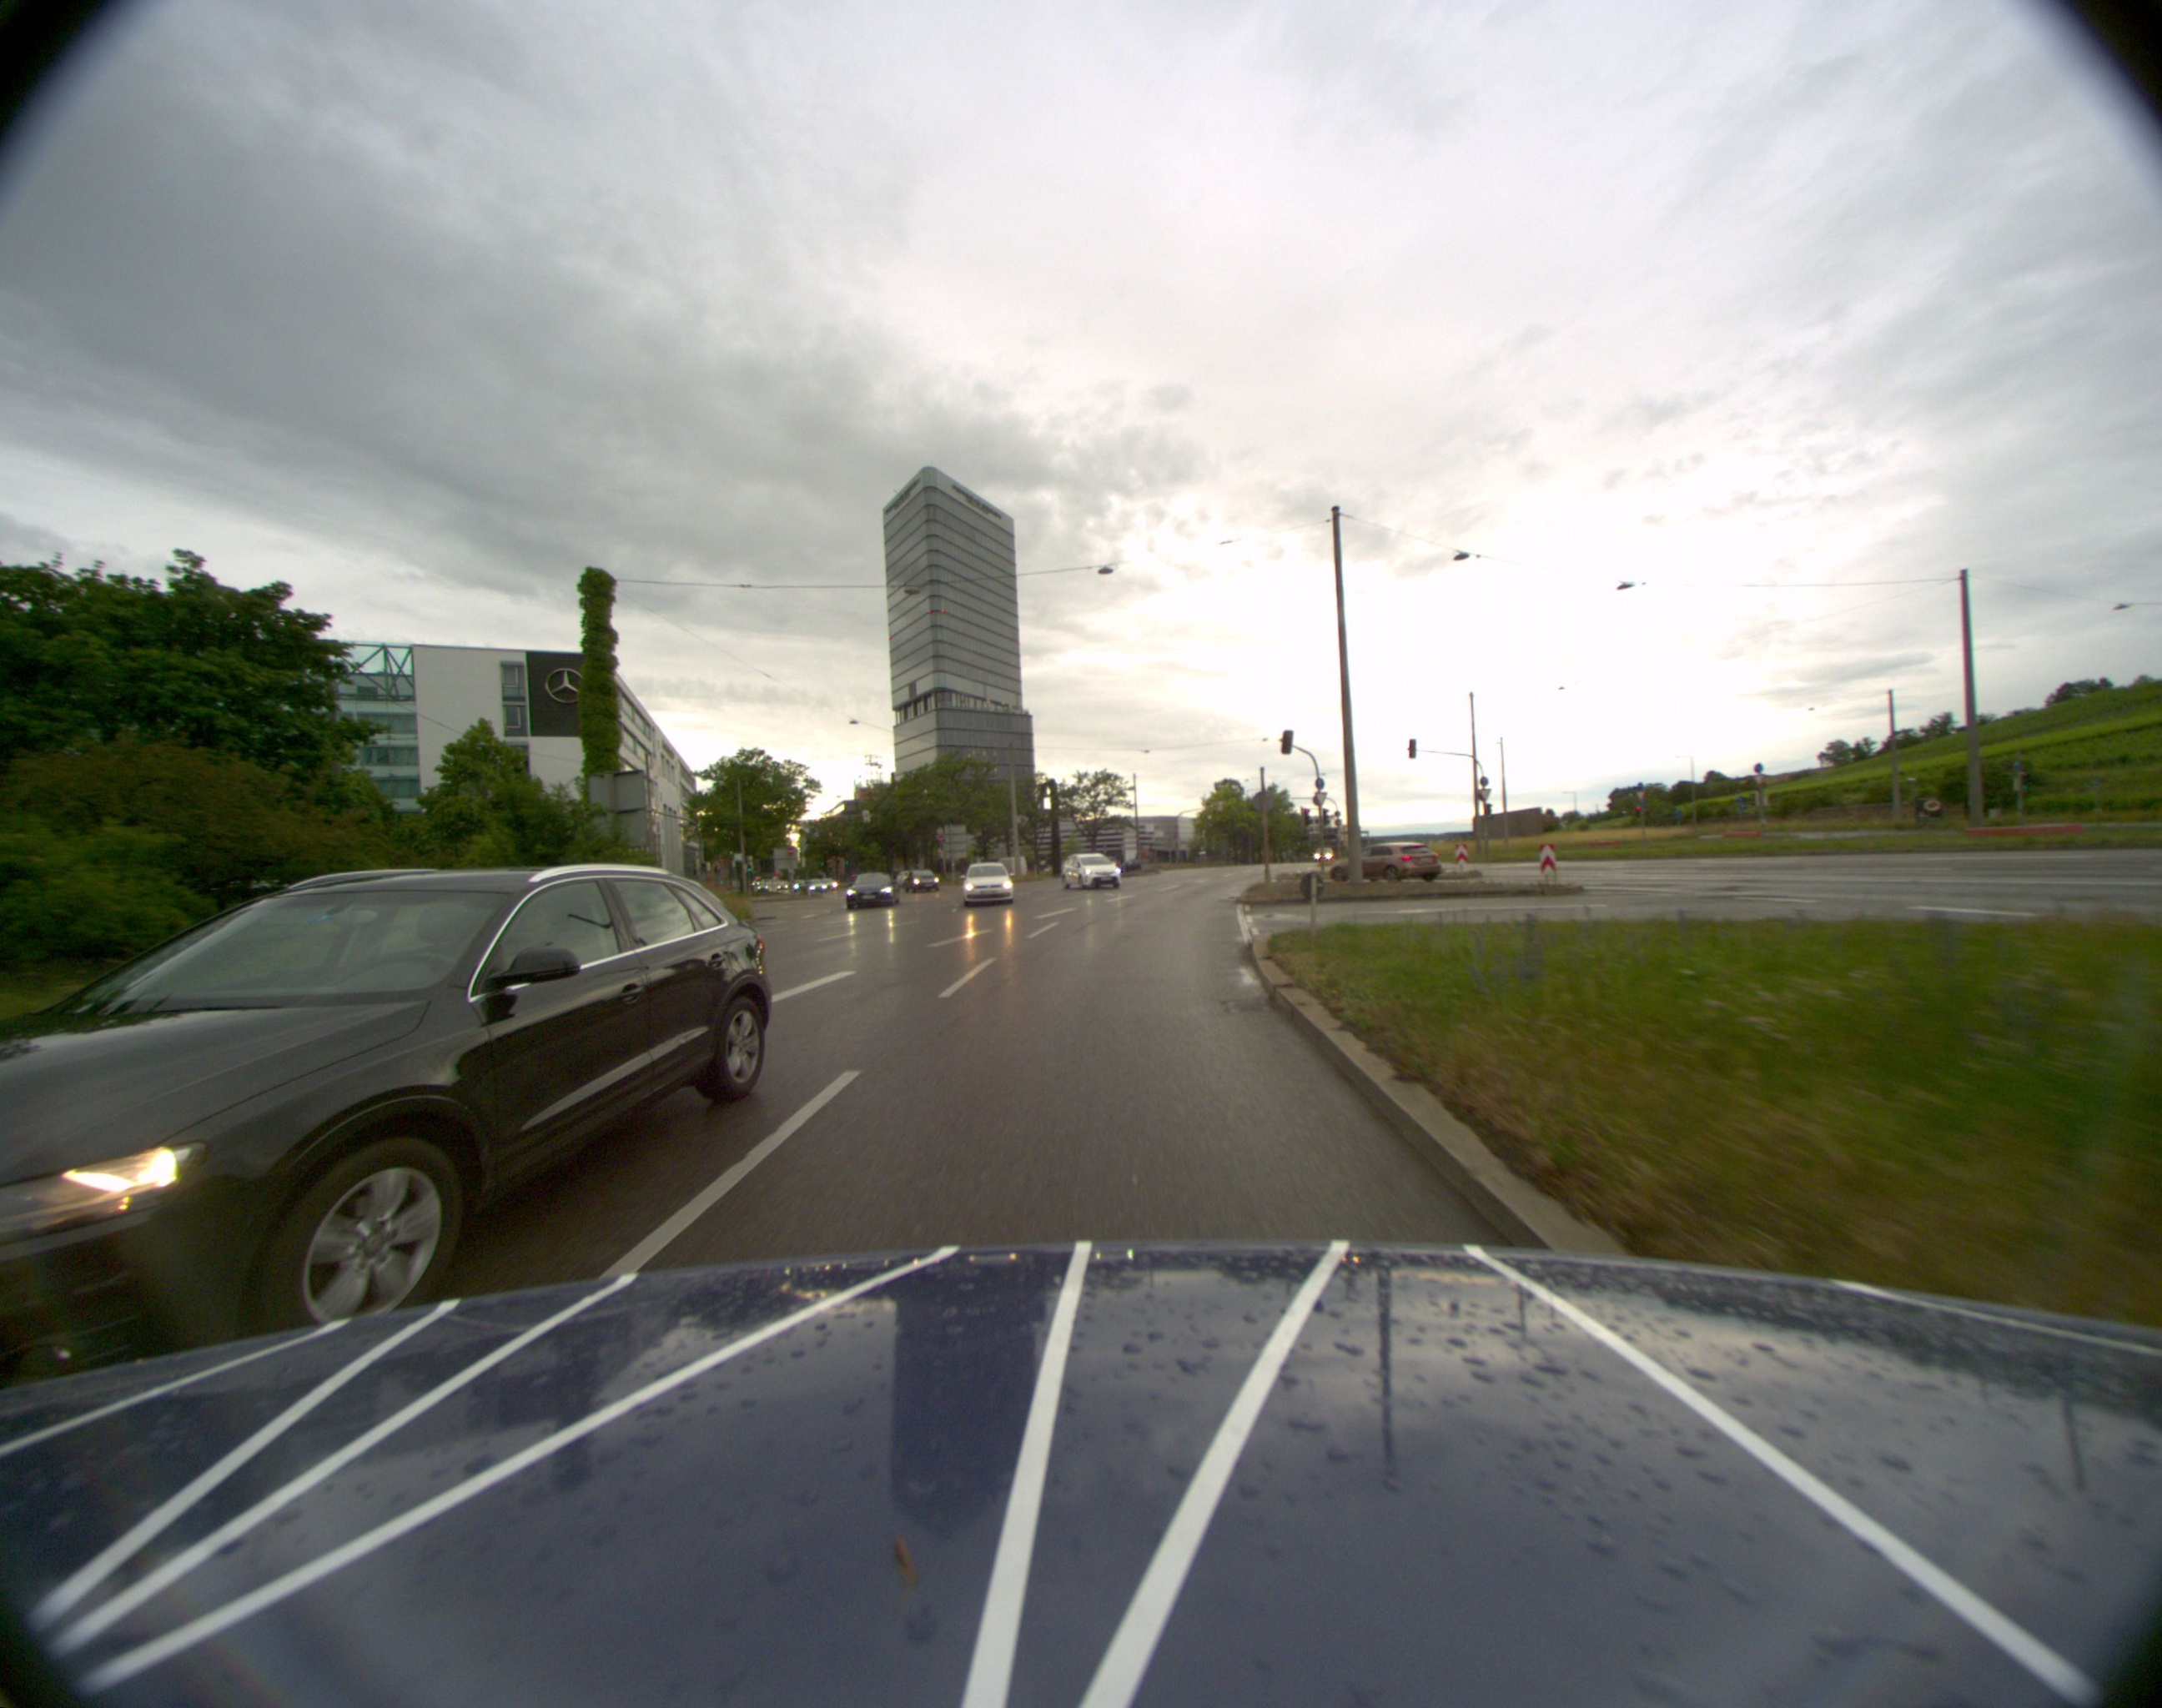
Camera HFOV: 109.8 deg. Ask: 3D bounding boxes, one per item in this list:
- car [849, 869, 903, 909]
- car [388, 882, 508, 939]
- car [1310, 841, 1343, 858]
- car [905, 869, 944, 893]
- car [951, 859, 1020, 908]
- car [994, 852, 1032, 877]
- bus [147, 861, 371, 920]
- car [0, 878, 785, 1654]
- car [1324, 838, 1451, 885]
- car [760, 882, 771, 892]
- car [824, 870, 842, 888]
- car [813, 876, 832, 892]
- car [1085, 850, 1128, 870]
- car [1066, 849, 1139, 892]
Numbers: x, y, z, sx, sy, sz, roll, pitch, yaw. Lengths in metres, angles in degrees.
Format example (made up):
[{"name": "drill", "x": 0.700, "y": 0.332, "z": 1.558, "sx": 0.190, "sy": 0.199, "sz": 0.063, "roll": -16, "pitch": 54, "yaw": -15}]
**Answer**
[{"name": "car", "x": -8.461, "y": 1.394, "z": 31.644, "sx": 1.760, "sy": 1.390, "sz": 3.996, "roll": -3, "pitch": 0, "yaw": -10}, {"name": "car", "x": -34.751, "y": 3.076, "z": 41.802, "sx": 4.801, "sy": 2.650, "sz": 1.930, "roll": -4, "pitch": 0, "yaw": 1}, {"name": "car", "x": 24.844, "y": -0.450, "z": 76.810, "sx": 1.792, "sy": 1.579, "sz": 3.913, "roll": -2, "pitch": 1, "yaw": 38}, {"name": "car", "x": -10.249, "y": 1.729, "z": 49.603, "sx": 1.572, "sy": 1.407, "sz": 3.872, "roll": -4, "pitch": 0, "yaw": -25}, {"name": "car", "x": -3.503, "y": 0.998, "z": 27.170, "sx": 1.732, "sy": 1.464, "sz": 4.258, "roll": -4, "pitch": 0, "yaw": -15}, {"name": "car", "x": -7.887, "y": 1.255, "z": 87.429, "sx": 1.934, "sy": 2.569, "sz": 5.447, "roll": -4, "pitch": 0, "yaw": -33}, {"name": "bus", "x": -54.139, "y": 2.349, "z": 50.230, "sx": 11.839, "sy": 3.182, "sz": 1.999, "roll": -3, "pitch": 1, "yaw": -3}, {"name": "car", "x": -3.135, "y": 0.981, "z": 3.494, "sx": 1.729, "sy": 1.525, "sz": 4.127, "roll": -2, "pitch": 0, "yaw": 2}, {"name": "car", "x": 10.950, "y": 0.295, "z": 27.481, "sx": 1.740, "sy": 1.453, "sz": 4.334, "roll": -4, "pitch": 0, "yaw": -20}, {"name": "car", "x": -61.502, "y": 6.372, "z": 148.054, "sx": 1.716, "sy": 1.699, "sz": 3.875, "roll": -3, "pitch": 1, "yaw": -26}, {"name": "car", "x": -29.845, "y": 2.977, "z": 91.388, "sx": 1.614, "sy": 2.002, "sz": 3.626, "roll": -3, "pitch": 1, "yaw": -23}, {"name": "car", "x": -27.039, "y": 3.108, "z": 79.421, "sx": 1.614, "sy": 1.505, "sz": 3.626, "roll": -3, "pitch": 0, "yaw": -23}, {"name": "car", "x": 2.302, "y": 0.568, "z": 69.713, "sx": 1.741, "sy": 1.587, "sz": 4.332, "roll": -4, "pitch": 0, "yaw": -31}, {"name": "car", "x": 0.873, "y": 0.690, "z": 33.965, "sx": 1.829, "sy": 1.575, "sz": 4.289, "roll": -4, "pitch": 3, "yaw": -18}]
